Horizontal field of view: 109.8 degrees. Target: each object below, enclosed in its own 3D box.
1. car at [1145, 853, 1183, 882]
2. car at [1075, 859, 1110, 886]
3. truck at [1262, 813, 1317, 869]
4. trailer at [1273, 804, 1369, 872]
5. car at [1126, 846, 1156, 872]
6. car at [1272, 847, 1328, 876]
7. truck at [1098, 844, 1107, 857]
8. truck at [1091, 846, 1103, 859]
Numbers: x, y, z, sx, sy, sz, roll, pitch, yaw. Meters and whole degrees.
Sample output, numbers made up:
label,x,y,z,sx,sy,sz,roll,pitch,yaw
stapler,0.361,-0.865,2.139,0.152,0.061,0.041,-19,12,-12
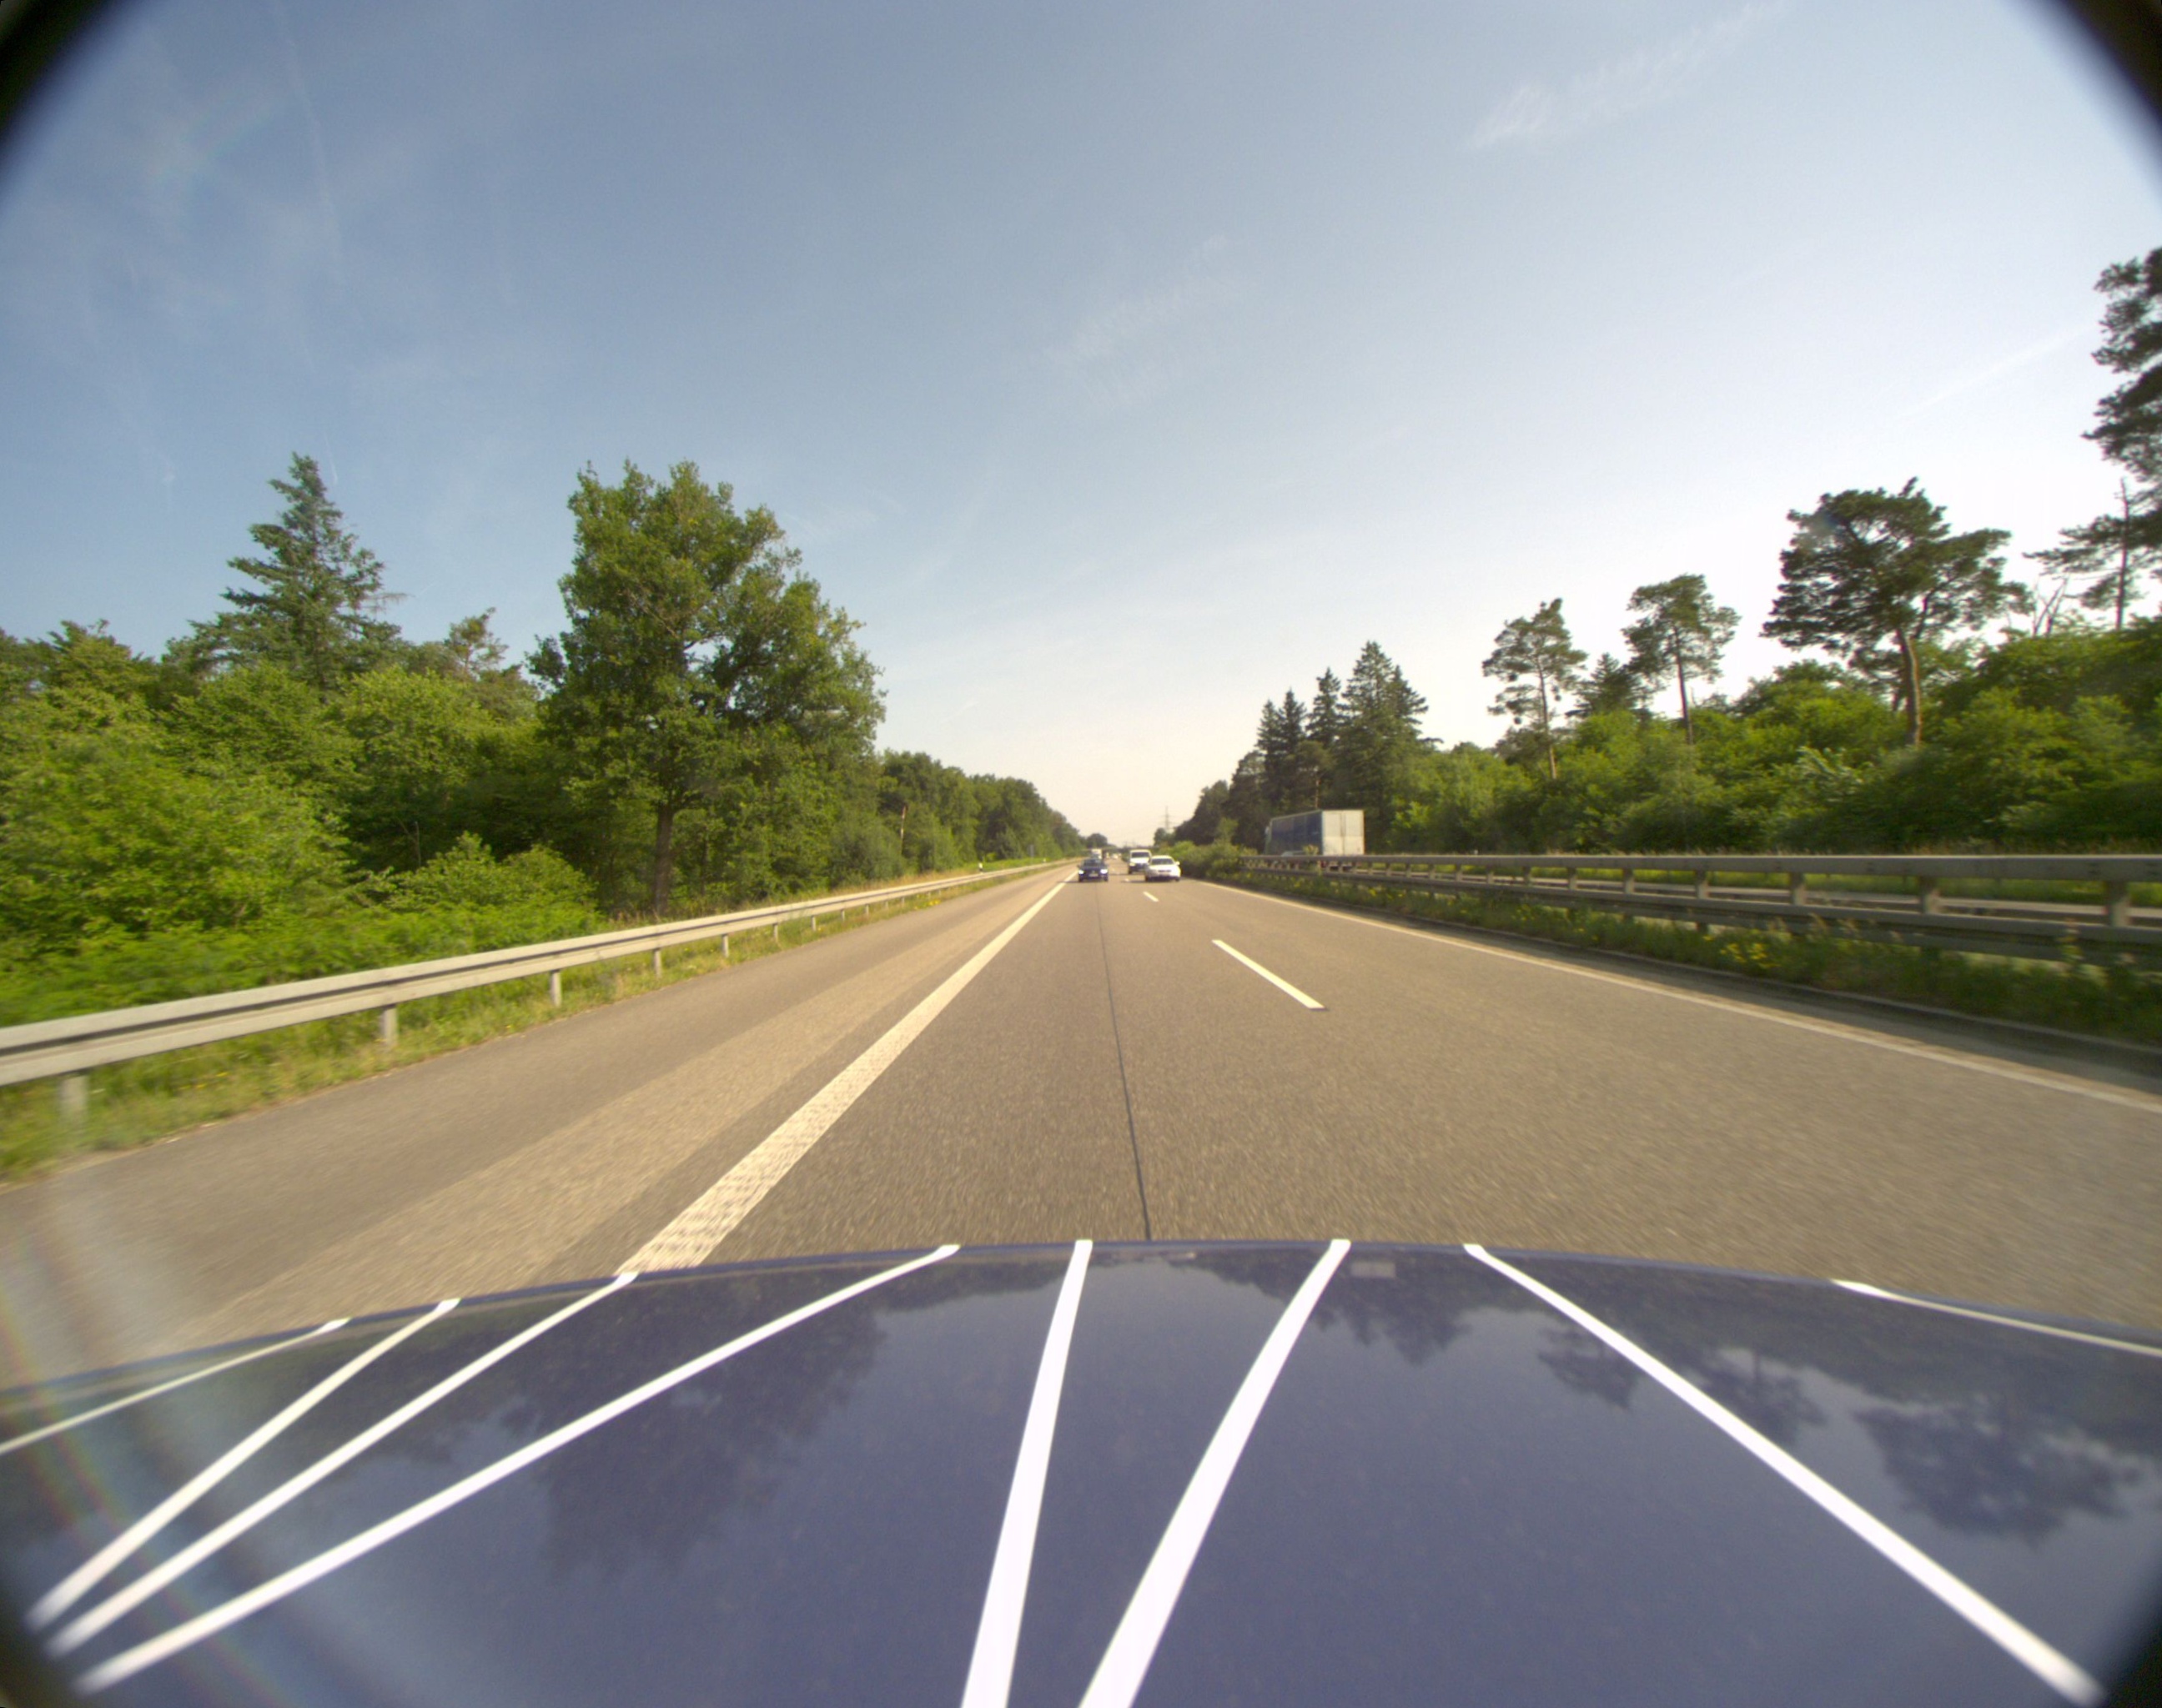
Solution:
label,x,y,z,sx,sy,sz,roll,pitch,yaw
car,4.695,0.744,43.586,1.754,1.477,5.264,-2,0,2
car,0.643,0.974,40.832,1.789,1.285,3.538,-2,0,1
truck,16.447,-1.001,60.346,2.716,4.176,6.293,-1,0,1
trailer,16.366,-1.003,53.209,2.698,4.176,13.080,-1,0,1
car,4.805,0.363,61.449,1.912,1.934,4.706,-2,0,-1
car,12.066,0.405,42.224,1.708,1.441,4.582,-2,0,-1
truck,6.713,-1.066,238.811,2.695,4.061,12.364,-2,0,0
truck,3.786,-0.369,183.623,2.695,3.020,10.371,-2,0,0
